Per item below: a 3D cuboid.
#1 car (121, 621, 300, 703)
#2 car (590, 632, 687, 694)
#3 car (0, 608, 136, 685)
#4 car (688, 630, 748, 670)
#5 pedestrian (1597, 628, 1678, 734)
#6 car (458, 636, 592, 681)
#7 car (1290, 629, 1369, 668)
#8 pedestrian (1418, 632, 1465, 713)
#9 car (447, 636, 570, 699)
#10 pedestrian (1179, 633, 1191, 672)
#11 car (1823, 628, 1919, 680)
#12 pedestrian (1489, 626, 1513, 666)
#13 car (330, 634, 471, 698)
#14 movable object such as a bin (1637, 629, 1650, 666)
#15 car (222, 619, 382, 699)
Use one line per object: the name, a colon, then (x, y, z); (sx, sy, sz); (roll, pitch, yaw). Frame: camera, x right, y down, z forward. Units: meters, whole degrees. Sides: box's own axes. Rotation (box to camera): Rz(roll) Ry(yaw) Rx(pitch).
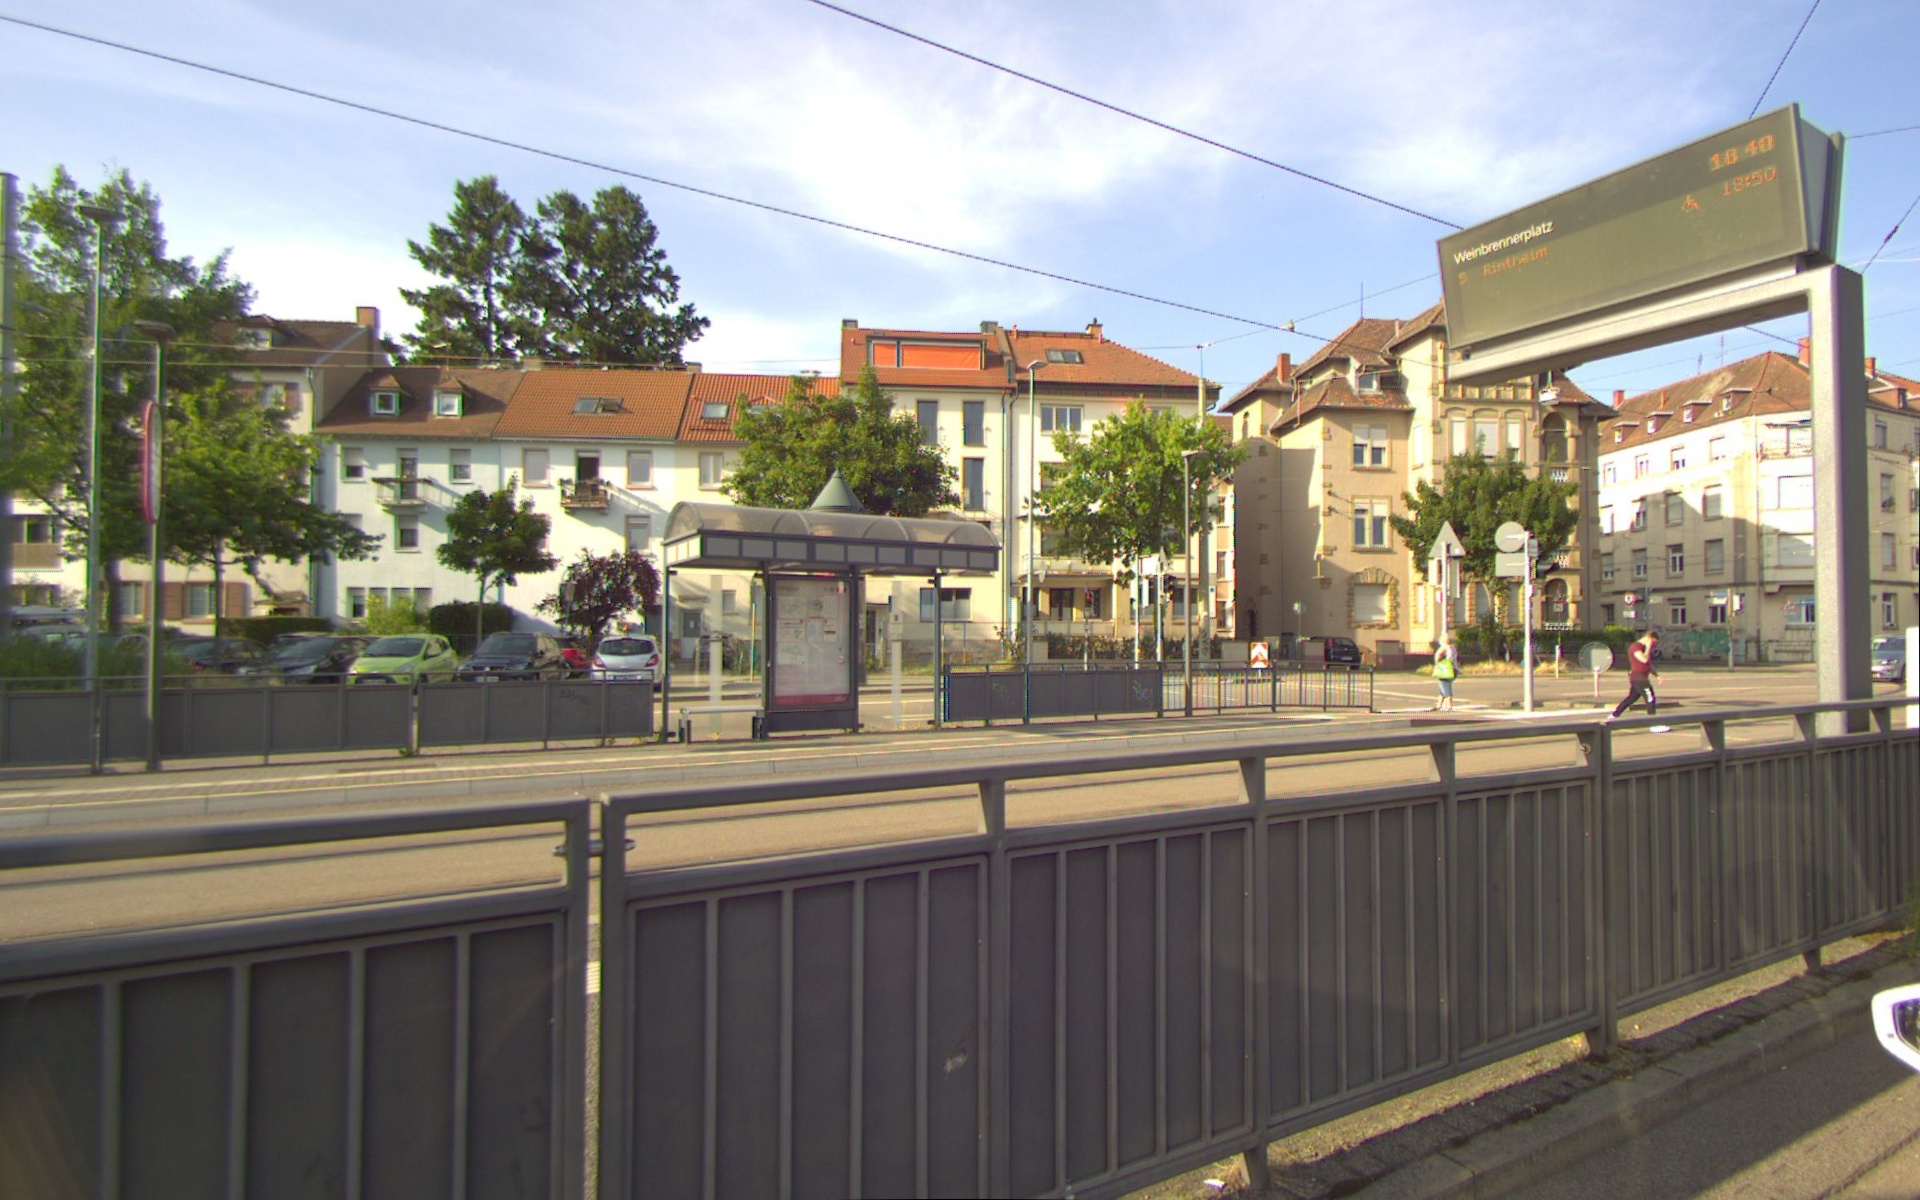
car: (-17.764, 1.439, 24.061); (1.822, 1.777, 3.993); (1, -2, -11)
car: (-8.111, 1.566, 25.666); (1.740, 1.447, 3.995); (0, -2, -9)
car: (-23.007, 1.152, 25.241); (1.822, 1.777, 3.993); (1, -2, -11)
car: (-10.048, 2.077, 41.966); (1.821, 1.578, 3.998); (0, -2, -4)
pedestrian: (11.149, 1.313, 16.545); (0.663, 1.692, 0.877); (1, -2, -27)
car: (-14.441, 1.922, 33.505); (3.792, 1.445, 1.548); (0, -2, -7)
car: (16.409, 2.155, 44.820); (1.742, 1.653, 3.998); (0, -2, -5)
pedestrian: (9.864, 1.468, 20.594); (0.708, 1.610, 0.586); (1, -2, -34)
car: (-11.085, 1.617, 24.945); (1.740, 1.447, 3.995); (0, -2, -9)
pedestrian: (8.969, 2.094, 40.008); (0.382, 1.535, 0.405); (0, -2, -3)
car: (30.496, 1.734, 32.956); (4.066, 1.546, 1.673); (0, -2, -24)
pedestrian: (22.562, 1.906, 41.914); (0.592, 1.673, 0.681); (0, -2, -3)
car: (-13.736, 1.588, 24.941); (1.740, 1.447, 3.995); (0, -2, -9)
movable object such as a bin: (32.873, 2.283, 48.288); (0.259, 1.732, 2.379); (-1, -2, 29)
car: (-15.852, 1.393, 24.455); (1.822, 1.777, 3.993); (1, -2, -11)
